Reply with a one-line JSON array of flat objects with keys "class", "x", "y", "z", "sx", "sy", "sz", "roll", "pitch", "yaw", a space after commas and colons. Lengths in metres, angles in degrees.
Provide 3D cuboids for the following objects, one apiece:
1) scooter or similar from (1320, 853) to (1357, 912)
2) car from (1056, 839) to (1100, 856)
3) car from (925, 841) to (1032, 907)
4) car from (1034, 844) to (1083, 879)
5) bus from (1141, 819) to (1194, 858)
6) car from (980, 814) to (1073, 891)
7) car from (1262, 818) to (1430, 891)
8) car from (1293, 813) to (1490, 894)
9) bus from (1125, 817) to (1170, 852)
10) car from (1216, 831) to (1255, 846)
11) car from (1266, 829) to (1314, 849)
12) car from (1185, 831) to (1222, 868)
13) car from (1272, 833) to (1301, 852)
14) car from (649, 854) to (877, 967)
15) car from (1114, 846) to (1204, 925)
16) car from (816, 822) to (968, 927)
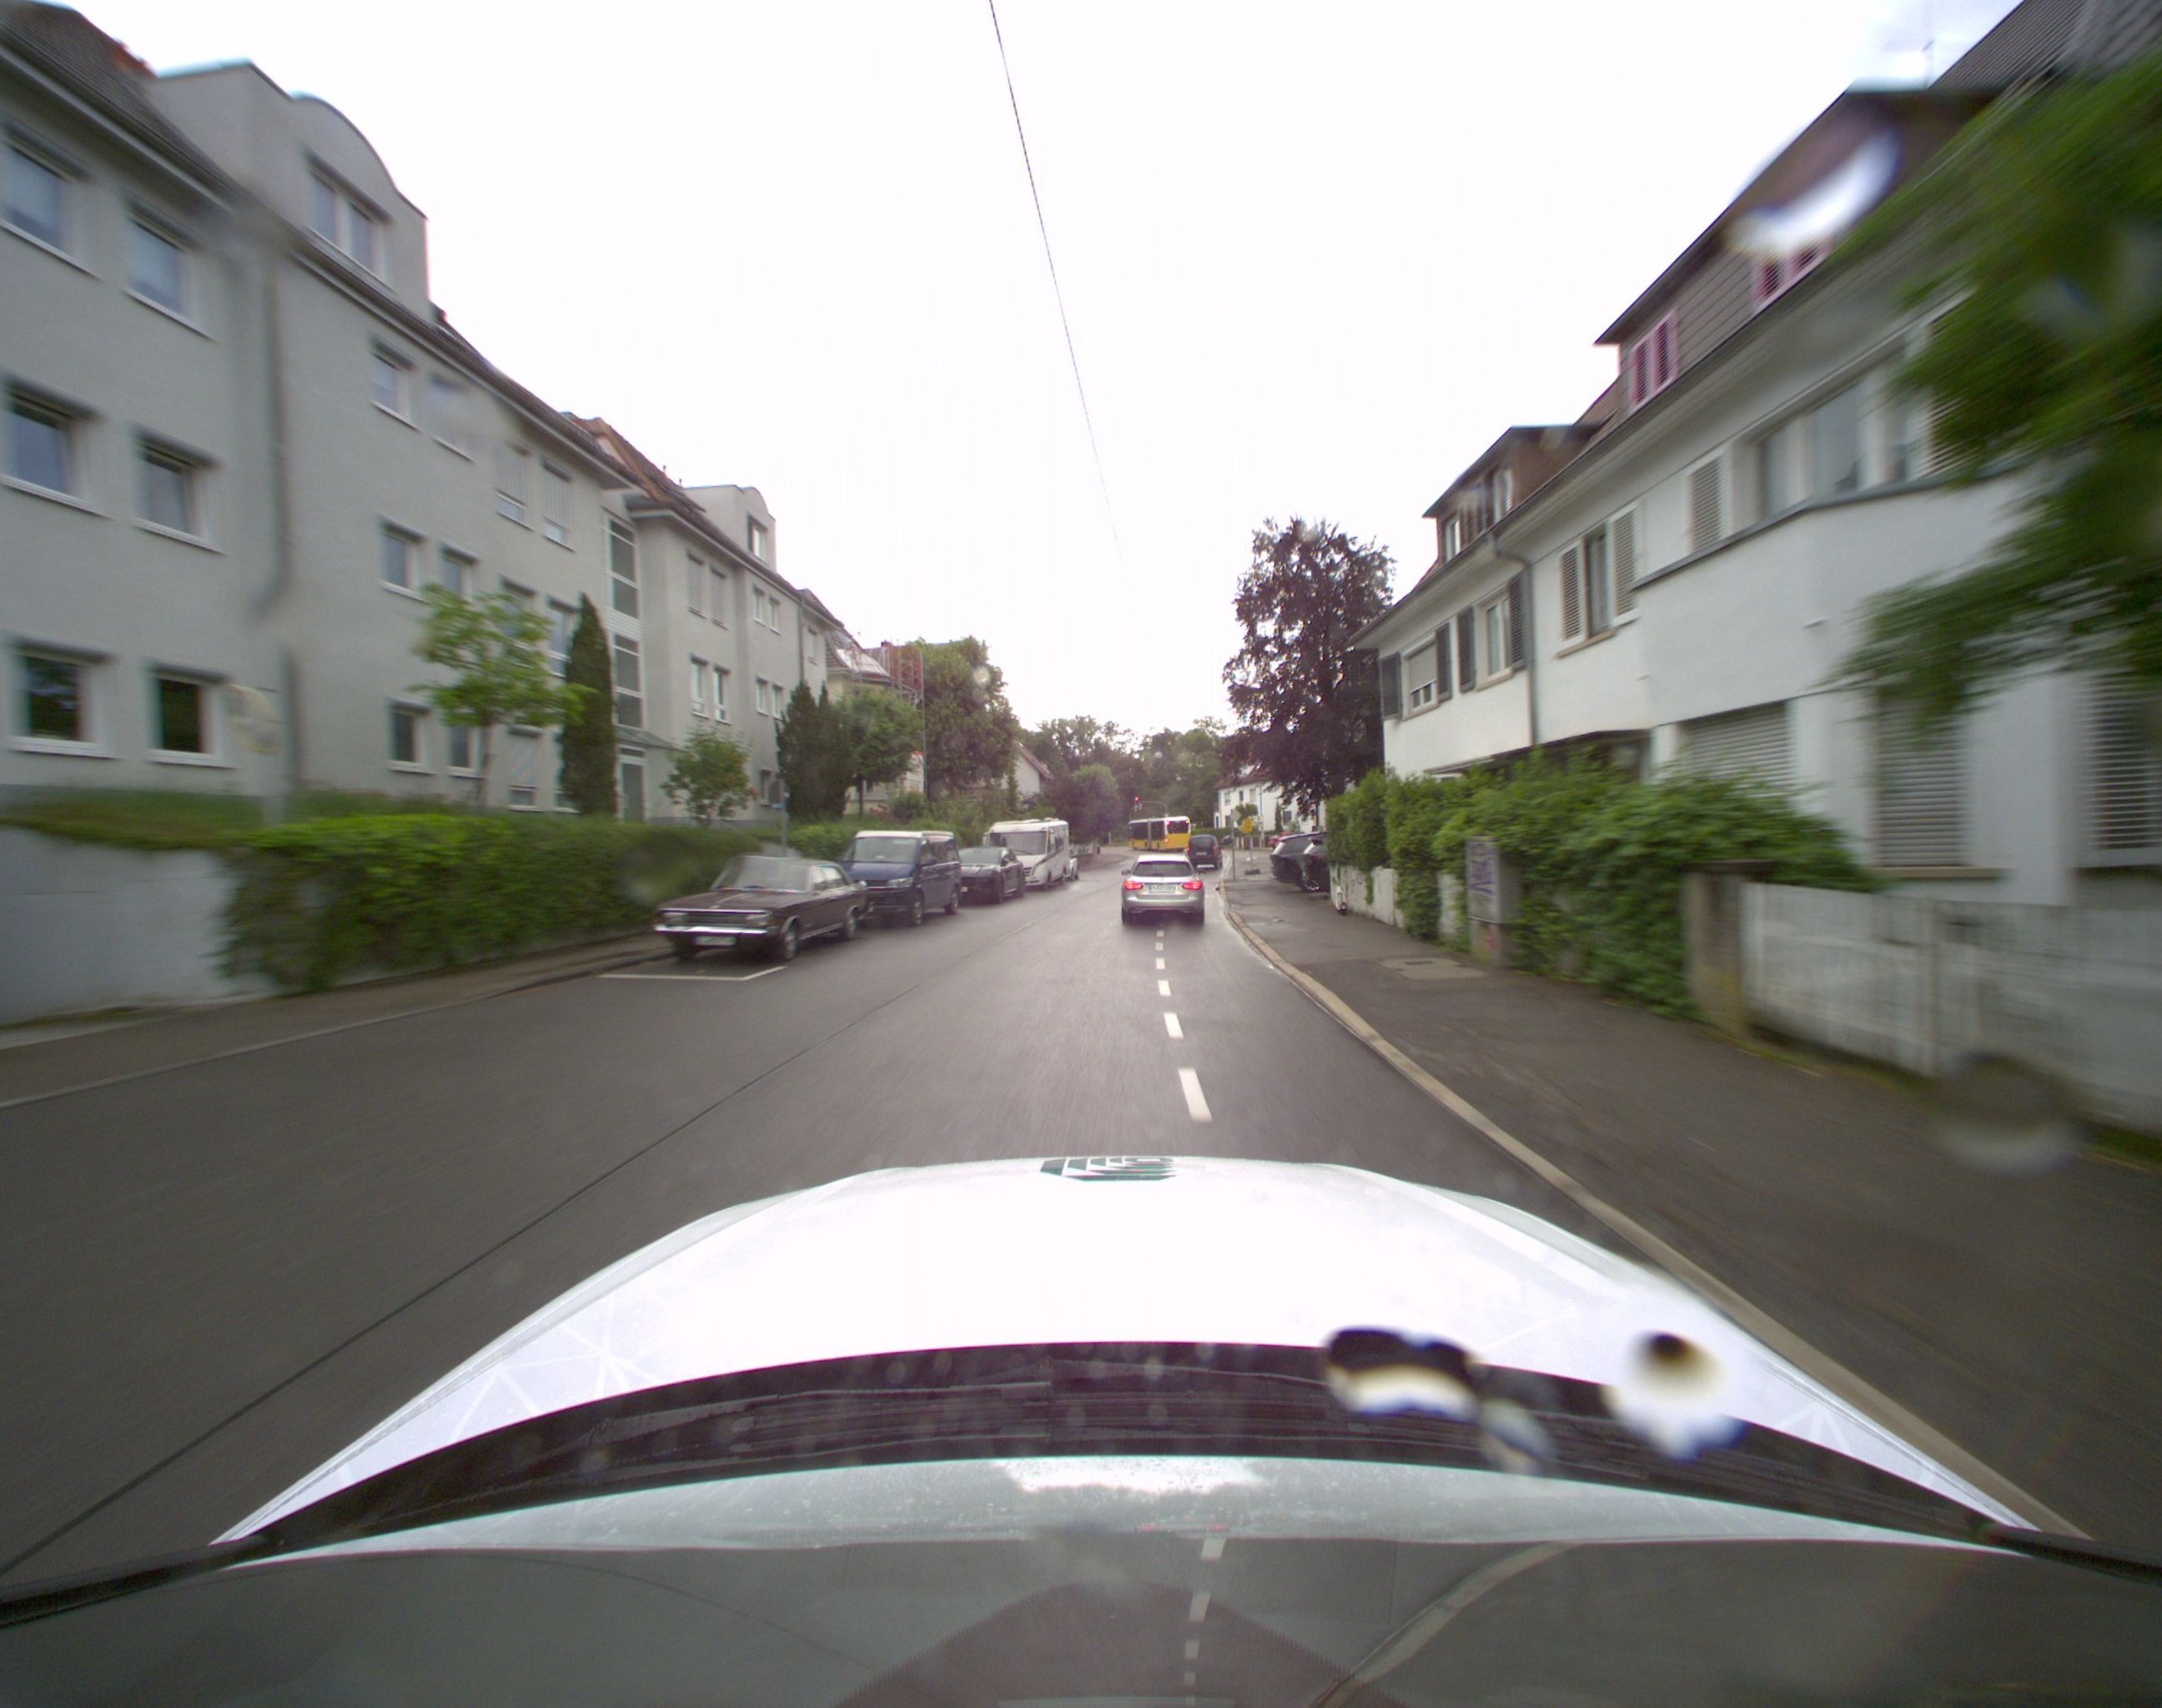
[{"class": "scooter or similar", "x": 5.573, "y": 0.592, "z": 17.702, "sx": 0.453, "sy": 1.200, "sz": 1.870, "roll": 0, "pitch": 0, "yaw": 8}, {"class": "car", "x": -0.257, "y": -0.611, "z": 75.500, "sx": 3.975, "sy": 1.419, "sz": 1.887, "roll": 0, "pitch": 2, "yaw": -1}, {"class": "car", "x": -2.982, "y": 0.513, "z": 24.844, "sx": 1.982, "sy": 1.688, "sz": 4.689, "roll": 0, "pitch": 3, "yaw": 9}, {"class": "car", "x": -0.996, "y": 0.329, "z": 38.000, "sx": 1.703, "sy": 1.447, "sz": 3.263, "roll": 0, "pitch": 3, "yaw": 9}, {"class": "bus", "x": 8.510, "y": -1.659, "z": 81.575, "sx": 2.926, "sy": 3.650, "sz": 10.144, "roll": -1, "pitch": 3, "yaw": -8}, {"class": "car", "x": -1.992, "y": -0.161, "z": 32.472, "sx": 2.377, "sy": 2.771, "sz": 6.548, "roll": 0, "pitch": 2, "yaw": 8}, {"class": "car", "x": 8.231, "y": 0.009, "z": 25.666, "sx": 4.640, "sy": 1.874, "sz": 2.003, "roll": -4, "pitch": 0, "yaw": 5}, {"class": "car", "x": 8.401, "y": -0.025, "z": 22.433, "sx": 4.640, "sy": 1.812, "sz": 2.003, "roll": -4, "pitch": 0, "yaw": 5}, {"class": "bus", "x": 7.307, "y": -2.284, "z": 90.610, "sx": 2.926, "sy": 3.650, "sz": 10.278, "roll": -1, "pitch": 3, "yaw": -7}, {"class": "car", "x": 17.408, "y": -1.772, "z": 91.818, "sx": 3.987, "sy": 1.530, "sz": 1.753, "roll": -1, "pitch": 2, "yaw": -10}, {"class": "car", "x": 19.346, "y": -1.397, "z": 75.429, "sx": 3.976, "sy": 1.793, "sz": 1.758, "roll": 0, "pitch": 2, "yaw": -2}, {"class": "car", "x": 6.582, "y": -0.226, "z": 43.961, "sx": 1.833, "sy": 1.904, "sz": 4.009, "roll": 0, "pitch": 0, "yaw": 8}, {"class": "car", "x": 16.557, "y": -0.949, "z": 65.704, "sx": 1.206, "sy": 1.450, "sz": 3.012, "roll": -1, "pitch": 3, "yaw": -10}, {"class": "car", "x": -4.758, "y": 0.751, "z": 13.009, "sx": 1.637, "sy": 1.417, "sz": 4.616, "roll": 0, "pitch": 1, "yaw": 3}, {"class": "car", "x": 1.783, "y": 0.612, "z": 18.448, "sx": 1.807, "sy": 1.556, "sz": 4.007, "roll": 0, "pitch": 1, "yaw": 6}, {"class": "car", "x": -4.046, "y": 0.392, "z": 18.405, "sx": 1.820, "sy": 2.056, "sz": 5.017, "roll": 0, "pitch": 0, "yaw": 5}]
